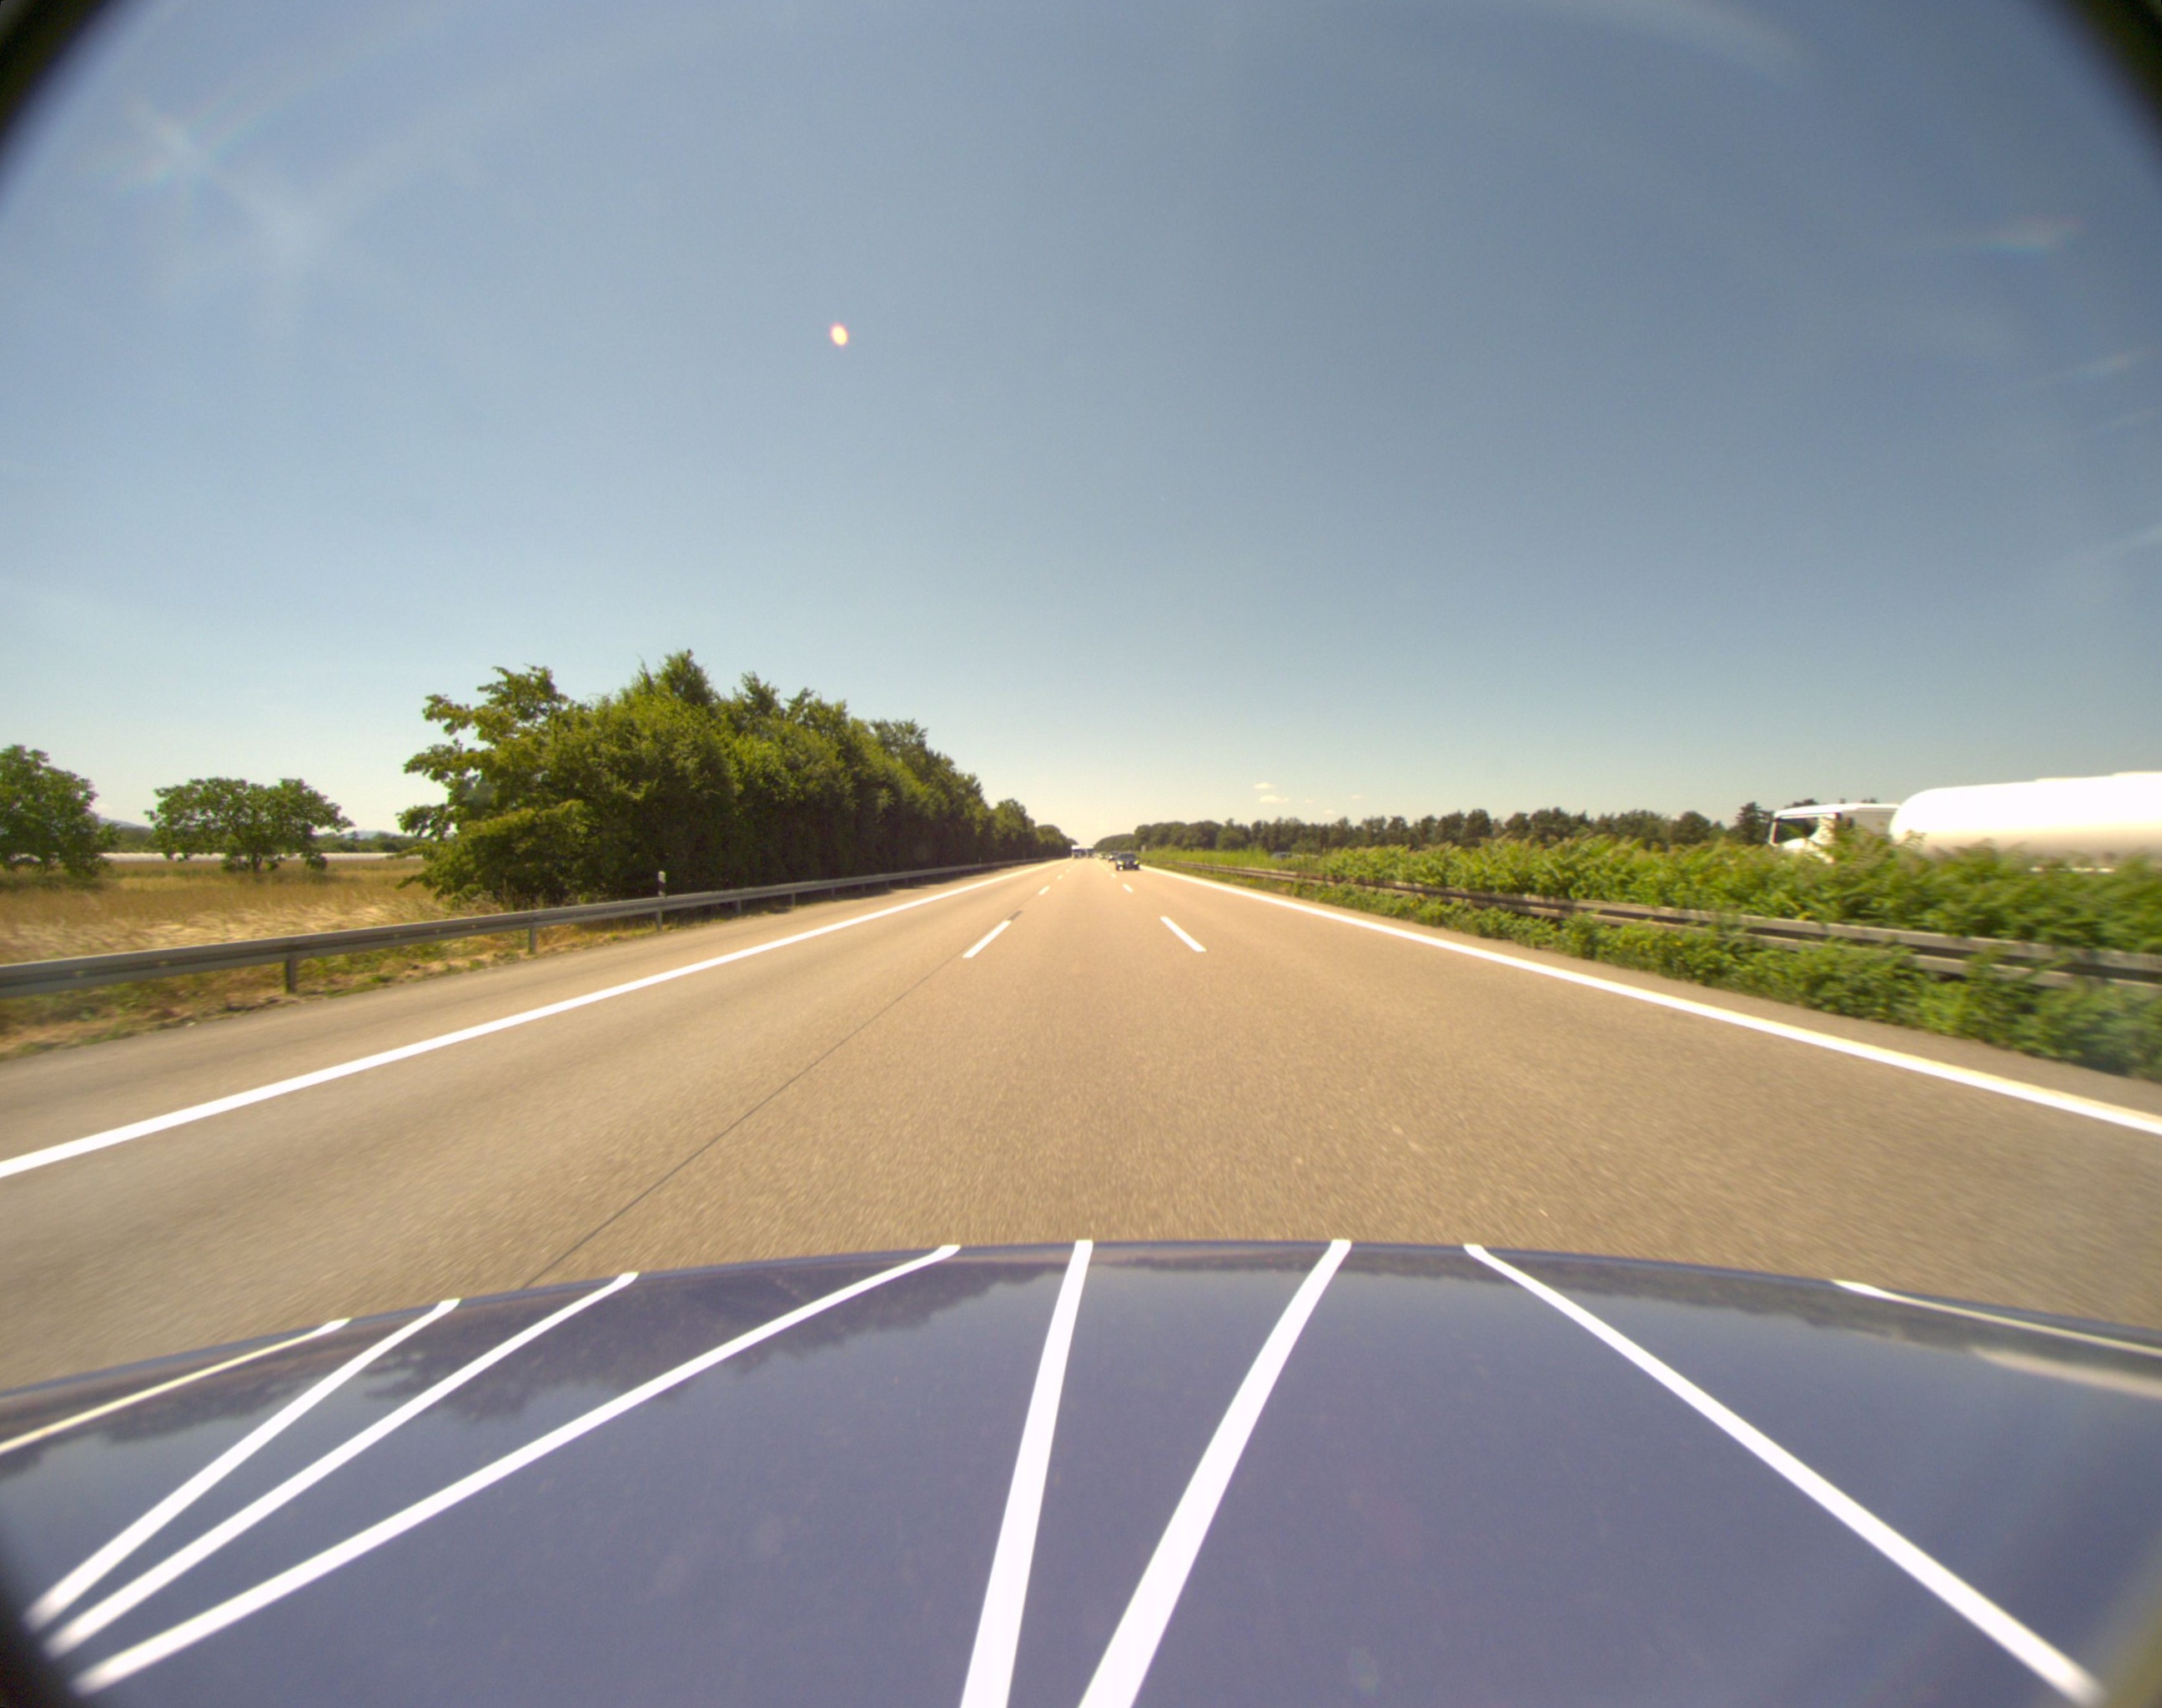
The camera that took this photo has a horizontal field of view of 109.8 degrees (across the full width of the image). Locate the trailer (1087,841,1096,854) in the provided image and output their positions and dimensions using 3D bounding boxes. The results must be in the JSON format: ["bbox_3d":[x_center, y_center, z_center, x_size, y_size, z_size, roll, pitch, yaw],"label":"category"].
[{"bbox_3d":[3.549,-2.206,255.557,2.863,4.247,11.471,-2,0,0],"label":"trailer"}]

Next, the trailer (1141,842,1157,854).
[{"bbox_3d":[21.583,-1.918,242.030,3.358,3.677,14.381,-2,0,-1],"label":"trailer"}]

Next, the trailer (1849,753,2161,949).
[{"bbox_3d":[20.972,-0.068,13.288,3.235,3.496,11.769,-1,0,0],"label":"trailer"}]

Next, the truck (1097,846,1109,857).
[{"bbox_3d":[5.170,-0.532,177.157,2.576,2.461,5.615,-2,0,1],"label":"truck"}]

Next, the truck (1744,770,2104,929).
[{"bbox_3d":[21.021,-0.108,19.540,3.235,3.496,5.434,-1,1,0],"label":"truck"}]

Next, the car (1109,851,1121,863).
[{"bbox_3d":[5.451,0.445,121.279,1.806,1.774,4.000,-1,0,1],"label":"car"}]

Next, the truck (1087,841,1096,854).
[{"bbox_3d":[3.495,-2.198,248.948,2.863,4.247,5.411,-2,0,0],"label":"truck"}]

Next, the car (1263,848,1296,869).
[{"bbox_3d":[16.656,0.340,64.021,1.810,1.674,4.000,0,0,1],"label":"car"}]

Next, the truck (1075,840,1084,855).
[{"bbox_3d":[-0.459,-1.979,235.264,2.863,4.247,6.863,-2,0,0],"label":"truck"}]

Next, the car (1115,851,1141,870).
[{"bbox_3d":[3.881,0.499,62.778,1.811,1.399,3.999,-3,0,0],"label":"car"}]
